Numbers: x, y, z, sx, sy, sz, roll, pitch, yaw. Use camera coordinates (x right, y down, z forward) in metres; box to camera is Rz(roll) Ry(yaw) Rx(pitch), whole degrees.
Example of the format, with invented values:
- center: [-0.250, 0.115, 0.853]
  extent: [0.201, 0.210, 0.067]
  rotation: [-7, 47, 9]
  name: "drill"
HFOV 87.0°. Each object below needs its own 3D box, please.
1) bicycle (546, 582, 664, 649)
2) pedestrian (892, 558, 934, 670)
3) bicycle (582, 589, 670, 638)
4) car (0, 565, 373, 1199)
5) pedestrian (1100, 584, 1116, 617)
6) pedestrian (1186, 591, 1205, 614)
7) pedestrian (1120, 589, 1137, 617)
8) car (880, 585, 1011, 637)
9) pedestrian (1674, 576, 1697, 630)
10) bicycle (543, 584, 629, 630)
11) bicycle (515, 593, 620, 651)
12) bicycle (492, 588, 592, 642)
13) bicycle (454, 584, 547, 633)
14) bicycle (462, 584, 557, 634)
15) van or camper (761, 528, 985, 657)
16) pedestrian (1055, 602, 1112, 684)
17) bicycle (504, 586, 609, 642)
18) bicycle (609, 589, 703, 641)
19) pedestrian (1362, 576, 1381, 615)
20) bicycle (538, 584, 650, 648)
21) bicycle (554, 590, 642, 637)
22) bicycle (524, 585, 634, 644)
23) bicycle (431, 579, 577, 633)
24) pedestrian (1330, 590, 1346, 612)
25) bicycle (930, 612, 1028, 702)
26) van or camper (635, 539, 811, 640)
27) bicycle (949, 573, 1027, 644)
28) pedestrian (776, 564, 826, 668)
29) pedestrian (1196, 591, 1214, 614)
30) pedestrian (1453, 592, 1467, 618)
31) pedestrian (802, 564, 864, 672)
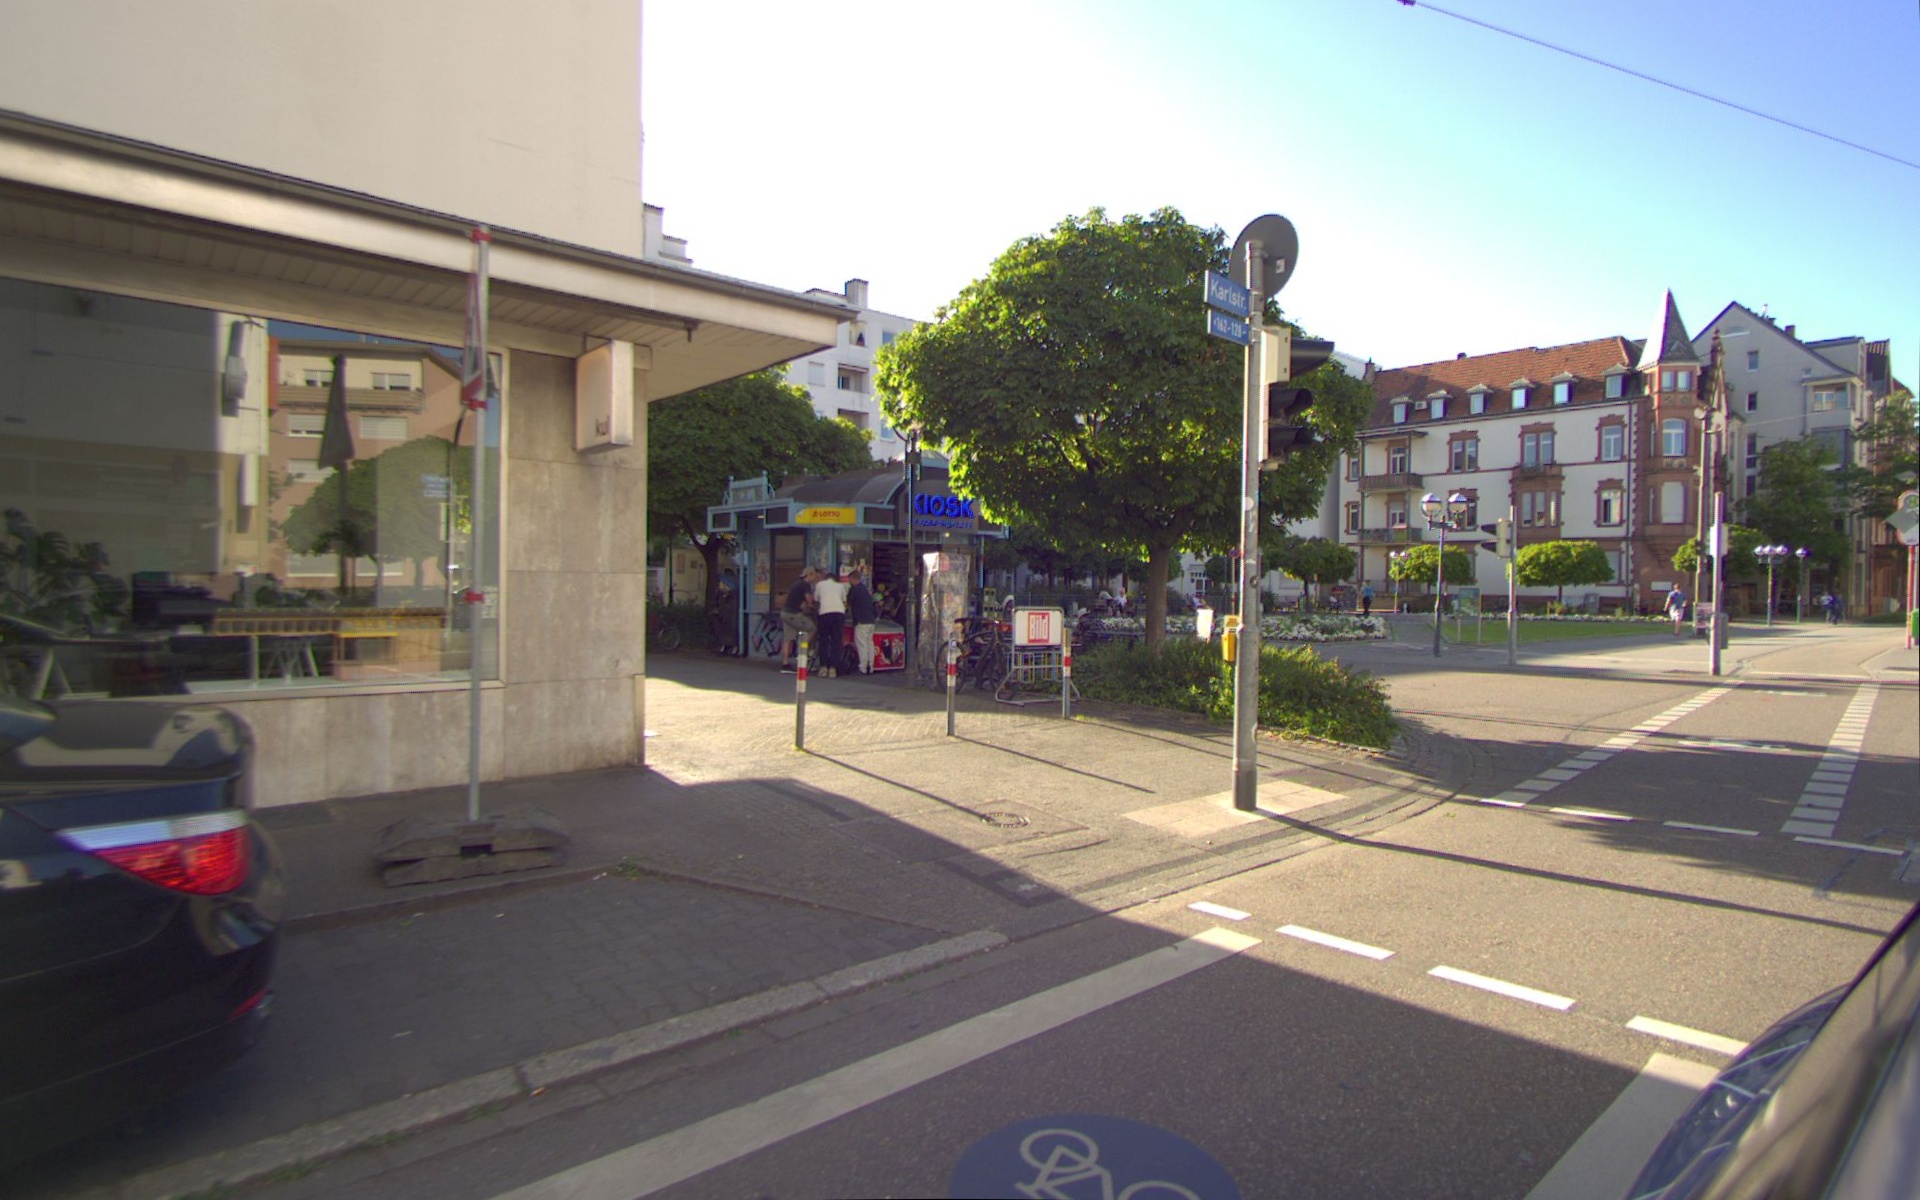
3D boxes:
- center: [-6.772, 0.308, 19.378]
  extent: [1.997, 1.233, 0.661]
  rotation: [2, -1, -41]
  name: "bicycle"
- center: [-0.767, 0.217, 16.640]
  extent: [0.545, 1.811, 0.539]
  rotation: [1, 0, 15]
  name: "pedestrian"
- center: [-8.342, 0.321, 25.357]
  extent: [1.998, 1.165, 0.661]
  rotation: [0, 1, -41]
  name: "bicycle"
- center: [-3.891, 0.709, 1.687]
  extent: [4.831, 1.525, 1.753]
  rotation: [-1, 3, -40]
  name: "car"
- center: [6.927, 0.020, 47.455]
  extent: [0.558, 1.563, 0.547]
  rotation: [0, 0, 39]
  name: "pedestrian"
- center: [12.197, 0.131, 52.496]
  extent: [0.765, 1.165, 0.628]
  rotation: [0, 0, 41]
  name: "pedestrian"
- center: [8.049, 0.137, 48.382]
  extent: [0.558, 1.290, 0.691]
  rotation: [0, 0, 39]
  name: "pedestrian"
- center: [-0.531, 0.281, 31.476]
  extent: [1.775, 1.481, 4.551]
  rotation: [0, 1, -37]
  name: "car"
- center: [26.709, 0.106, 37.258]
  extent: [0.645, 1.980, 0.577]
  rotation: [0, 0, 33]
  name: "pedestrian"
- center: [-9.853, 0.200, 26.741]
  extent: [1.997, 1.165, 0.661]
  rotation: [2, -1, -41]
  name: "bicycle"
- center: [-8.351, 0.440, 21.580]
  extent: [1.998, 1.165, 0.661]
  rotation: [0, 1, -41]
  name: "bicycle"
- center: [-9.460, 0.318, 22.951]
  extent: [1.998, 1.165, 0.661]
  rotation: [0, 1, -41]
  name: "bicycle"
- center: [-11.527, 0.226, 25.411]
  extent: [1.997, 1.165, 0.661]
  rotation: [2, -1, -41]
  name: "bicycle"
- center: [-11.026, 0.228, 24.832]
  extent: [1.997, 1.165, 0.661]
  rotation: [2, -1, -41]
  name: "bicycle"
- center: [-2.439, -0.223, 25.812]
  extent: [2.180, 2.849, 6.926]
  rotation: [0, 1, -40]
  name: "van or camper"
- center: [1.920, 0.654, 15.789]
  extent: [0.540, 1.228, 0.735]
  rotation: [0, 0, -34]
  name: "pedestrian"
- center: [-8.825, 0.324, 22.166]
  extent: [1.997, 1.165, 0.661]
  rotation: [2, -1, -41]
  name: "bicycle"
- center: [-7.122, 0.372, 23.760]
  extent: [1.997, 1.165, 0.661]
  rotation: [2, -1, -41]
  name: "bicycle"
- center: [17.417, -0.208, 42.797]
  extent: [0.640, 1.622, 0.699]
  rotation: [0, 0, 14]
  name: "pedestrian"
- center: [-7.378, 0.325, 20.446]
  extent: [1.997, 1.233, 0.661]
  rotation: [2, -1, -41]
  name: "bicycle"
- center: [-9.354, 0.350, 26.209]
  extent: [1.997, 1.165, 0.661]
  rotation: [2, -1, -41]
  name: "bicycle"
- center: [-7.900, 0.319, 21.029]
  extent: [1.997, 1.165, 0.661]
  rotation: [2, -1, -41]
  name: "bicycle"
- center: [-10.353, 0.114, 23.091]
  extent: [2.969, 1.165, 0.671]
  rotation: [0, 1, -41]
  name: "bicycle"
- center: [23.365, 0.064, 62.605]
  extent: [0.668, 1.308, 0.709]
  rotation: [0, 0, -43]
  name: "pedestrian"
- center: [0.211, 0.676, 12.561]
  extent: [0.352, 0.997, 1.669]
  rotation: [0, 1, -33]
  name: "bicycle"
- center: [-7.690, -0.361, 32.129]
  extent: [2.869, 2.849, 6.930]
  rotation: [0, 1, -38]
  name: "van or camper"
- center: [0.564, 0.159, 21.382]
  extent: [0.544, 1.441, 2.075]
  rotation: [0, 1, -34]
  name: "bicycle"
- center: [-2.531, 0.239, 16.095]
  extent: [0.581, 1.623, 0.552]
  rotation: [0, 0, -40]
  name: "pedestrian"
- center: [12.831, 0.130, 53.036]
  extent: [0.714, 1.165, 0.628]
  rotation: [0, 0, 41]
  name: "pedestrian"
- center: [21.344, 0.201, 43.201]
  extent: [0.445, 1.096, 0.449]
  rotation: [0, 0, 10]
  name: "pedestrian"
- center: [-1.975, 0.263, 15.683]
  extent: [0.731, 1.623, 0.615]
  rotation: [0, 0, -40]
  name: "pedestrian"
